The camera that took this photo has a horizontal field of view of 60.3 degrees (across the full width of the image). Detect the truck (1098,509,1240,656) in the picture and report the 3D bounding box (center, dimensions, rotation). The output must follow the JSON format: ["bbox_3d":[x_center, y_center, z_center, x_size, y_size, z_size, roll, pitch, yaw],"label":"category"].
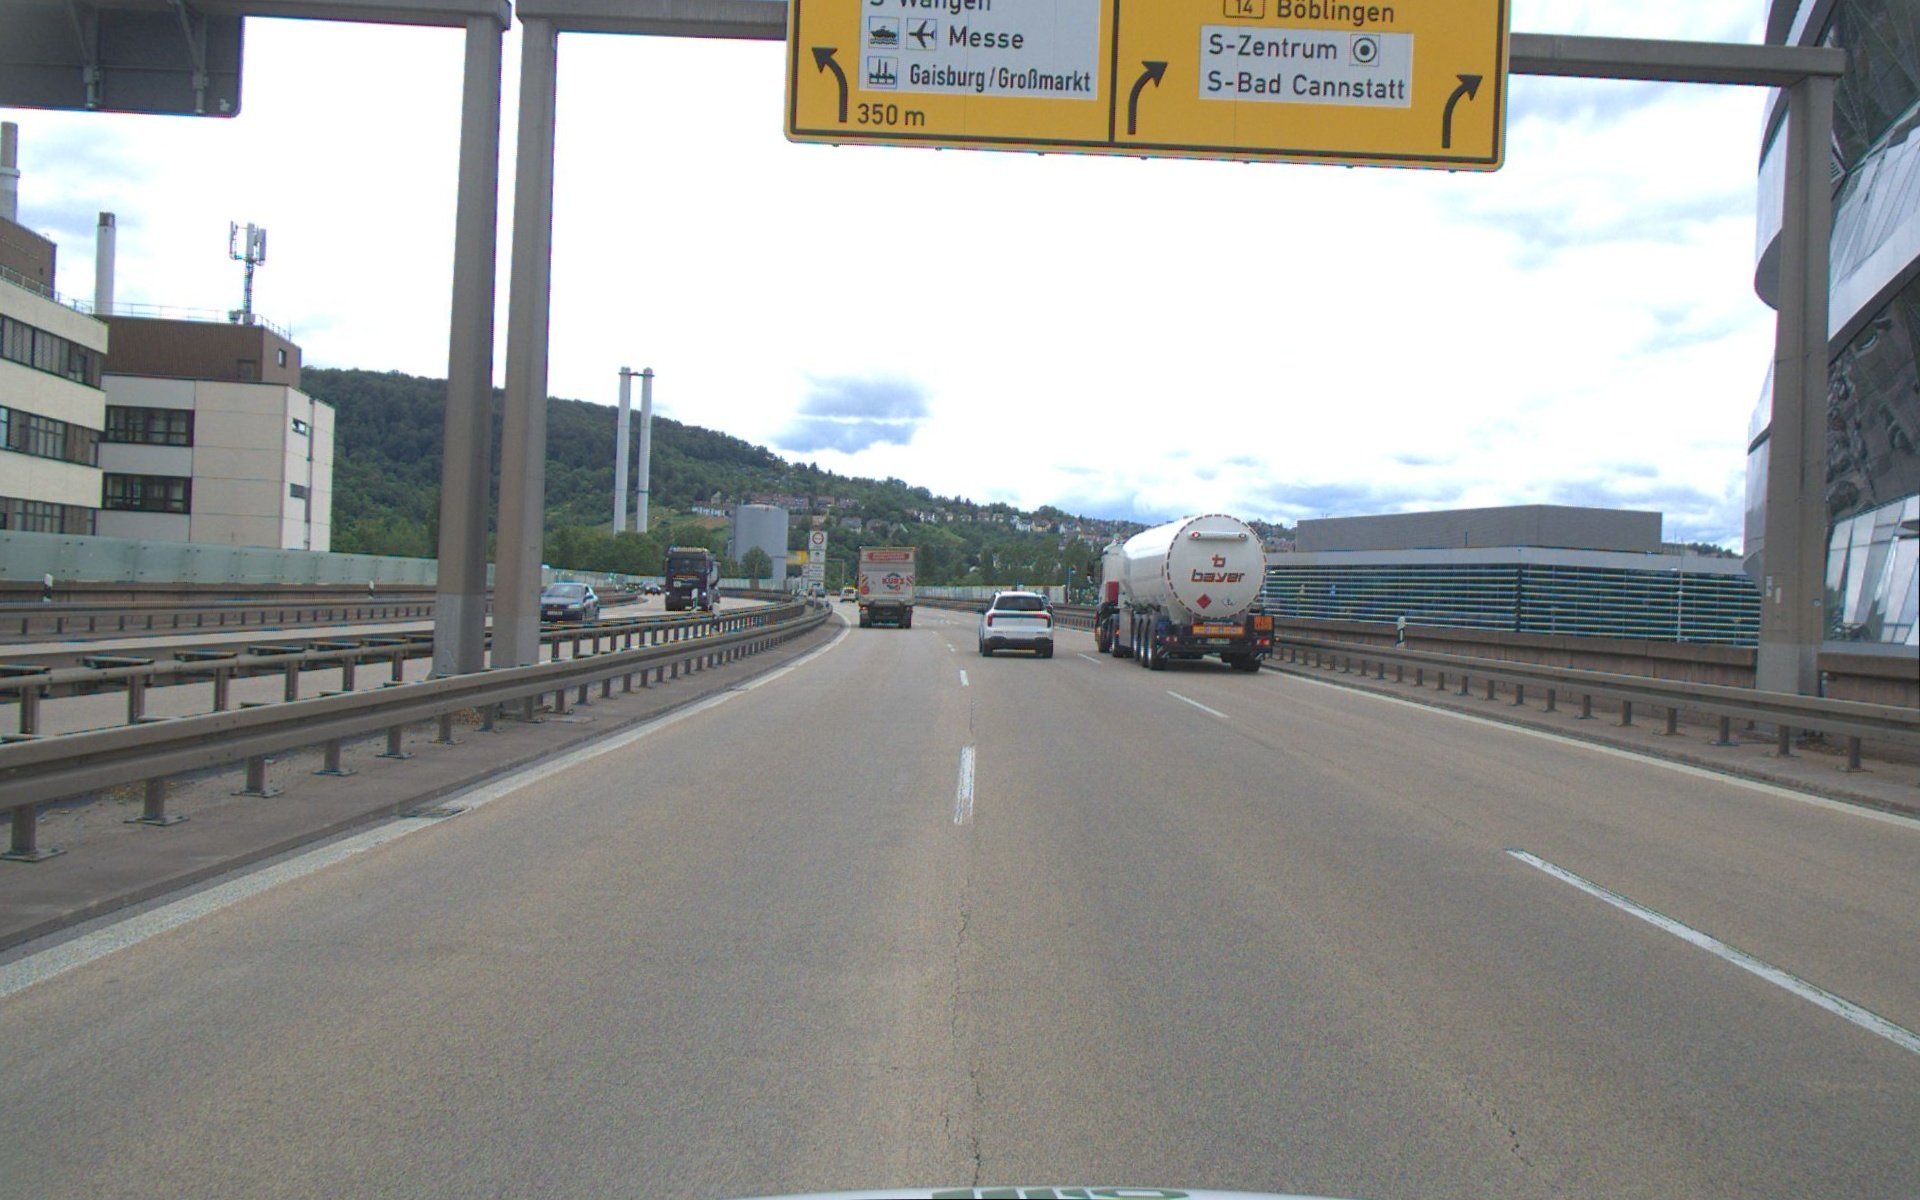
[{"bbox_3d":[5.603,-0.424,45.417,2.953,3.721,6.272,1,-1,-1],"label":"truck"}]

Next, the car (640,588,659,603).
[{"bbox_3d":[-37.433,-0.522,199.535,1.956,1.704,4.401,1,0,-7],"label":"car"}]

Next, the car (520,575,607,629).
[{"bbox_3d":[-13.305,0.074,55.741,1.953,1.704,4.406,1,0,-1],"label":"car"}]

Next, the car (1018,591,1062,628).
[{"bbox_3d":[3.792,0.453,78.961,1.952,1.704,4.408,1,0,1],"label":"car"}]

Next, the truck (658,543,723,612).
[{"bbox_3d":[-16.174,-1.237,99.988,2.755,3.876,12.009,1,0,-4],"label":"truck"}]

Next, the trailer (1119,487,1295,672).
[{"bbox_3d":[5.629,-0.415,39.190,2.994,3.856,8.304,1,0,1],"label":"trailer"}]

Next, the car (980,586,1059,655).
[{"bbox_3d":[1.543,0.530,44.089,1.952,1.704,4.408,1,0,0],"label":"car"}]

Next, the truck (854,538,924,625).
[{"bbox_3d":[-3.222,-0.791,77.018,2.995,3.755,8.301,1,0,-1],"label":"truck"}]
